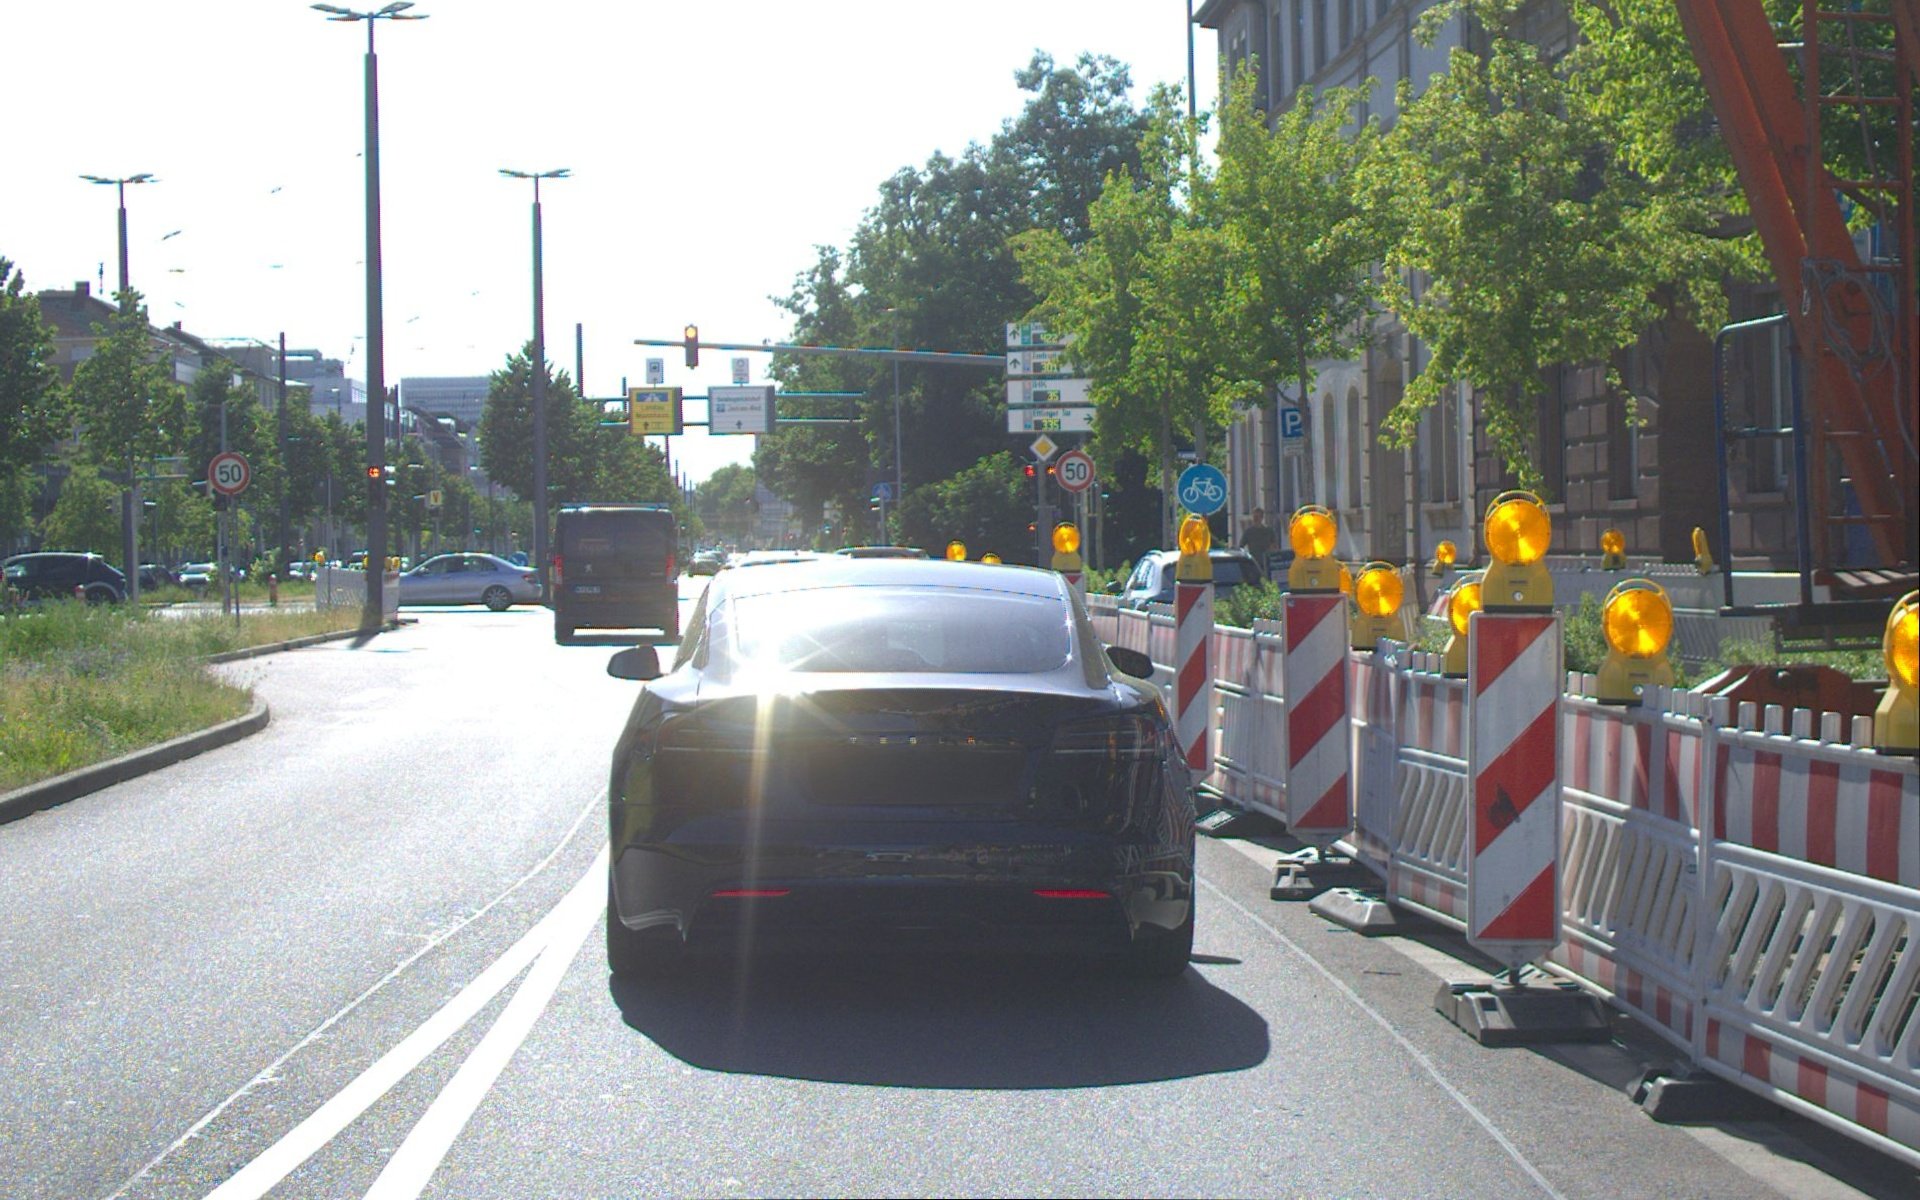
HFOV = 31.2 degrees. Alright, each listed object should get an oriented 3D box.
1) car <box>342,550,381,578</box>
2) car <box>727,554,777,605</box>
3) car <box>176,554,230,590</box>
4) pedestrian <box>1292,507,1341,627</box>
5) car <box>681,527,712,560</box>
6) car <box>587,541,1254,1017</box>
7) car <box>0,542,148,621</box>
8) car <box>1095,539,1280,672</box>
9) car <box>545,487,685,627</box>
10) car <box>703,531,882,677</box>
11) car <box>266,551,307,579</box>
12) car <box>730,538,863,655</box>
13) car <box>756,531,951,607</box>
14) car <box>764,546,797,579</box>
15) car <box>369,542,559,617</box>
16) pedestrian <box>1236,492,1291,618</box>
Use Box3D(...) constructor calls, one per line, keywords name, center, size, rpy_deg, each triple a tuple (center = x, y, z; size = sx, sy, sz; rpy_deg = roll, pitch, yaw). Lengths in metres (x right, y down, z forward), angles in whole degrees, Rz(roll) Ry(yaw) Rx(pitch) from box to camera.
Box3D(name="car", center=(-36.059, -2.164, 207.261), size=(1.808, 1.645, 4.001), rpy_deg=(-1, 1, -3))
Box3D(name="car", center=(-7.873, -0.779, 129.962), size=(1.791, 1.867, 3.850), rpy_deg=(1, 1, -5))
Box3D(name="car", center=(-35.833, -1.345, 162.791), size=(1.790, 1.645, 4.001), rpy_deg=(-1, 1, -3))
Box3D(name="pedestrian", center=(5.515, -0.521, 53.239), size=(0.563, 1.814, 0.587), rpy_deg=(-4, 1, -3))
Box3D(name="car", center=(-15.312, -3.247, 199.519), size=(1.791, 1.867, 3.850), rpy_deg=(1, 1, -5))
Box3D(name="car", center=(-0.254, 0.522, 12.927), size=(2.051, 1.439, 4.525), rpy_deg=(1, 1, -3))
Box3D(name="car", center=(-21.720, -0.444, 81.553), size=(4.511, 1.786, 2.001), rpy_deg=(-1, 1, -23))
Box3D(name="car", center=(2.776, 0.022, 42.907), size=(1.647, 1.470, 4.701), rpy_deg=(-3, 1, -3))
Box3D(name="car", center=(-5.803, -0.758, 58.254), size=(2.217, 2.259, 4.485), rpy_deg=(1, 1, -4))
Box3D(name="car", center=(-1.782, -0.006, 36.011), size=(1.747, 1.422, 4.839), rpy_deg=(0, 1, -3))
Box3D(name="car", center=(-39.506, -2.064, 201.796), size=(1.790, 1.645, 4.001), rpy_deg=(-1, 1, -3))
Box3D(name="car", center=(-2.258, -0.081, 47.638), size=(1.749, 1.522, 4.005), rpy_deg=(0, 1, -3))
Box3D(name="car", center=(-2.600, -0.772, 84.331), size=(4.513, 1.786, 2.000), rpy_deg=(-1, 1, 7))
Box3D(name="car", center=(-10.352, -2.175, 197.885), size=(1.791, 1.867, 3.850), rpy_deg=(1, 1, -5))
Box3D(name="car", center=(-12.229, -0.519, 84.973), size=(4.511, 1.786, 2.000), rpy_deg=(-1, 1, -5))
Box3D(name="pedestrian", center=(4.688, -0.695, 53.177), size=(0.658, 1.906, 0.587), rpy_deg=(-4, 1, -3))
